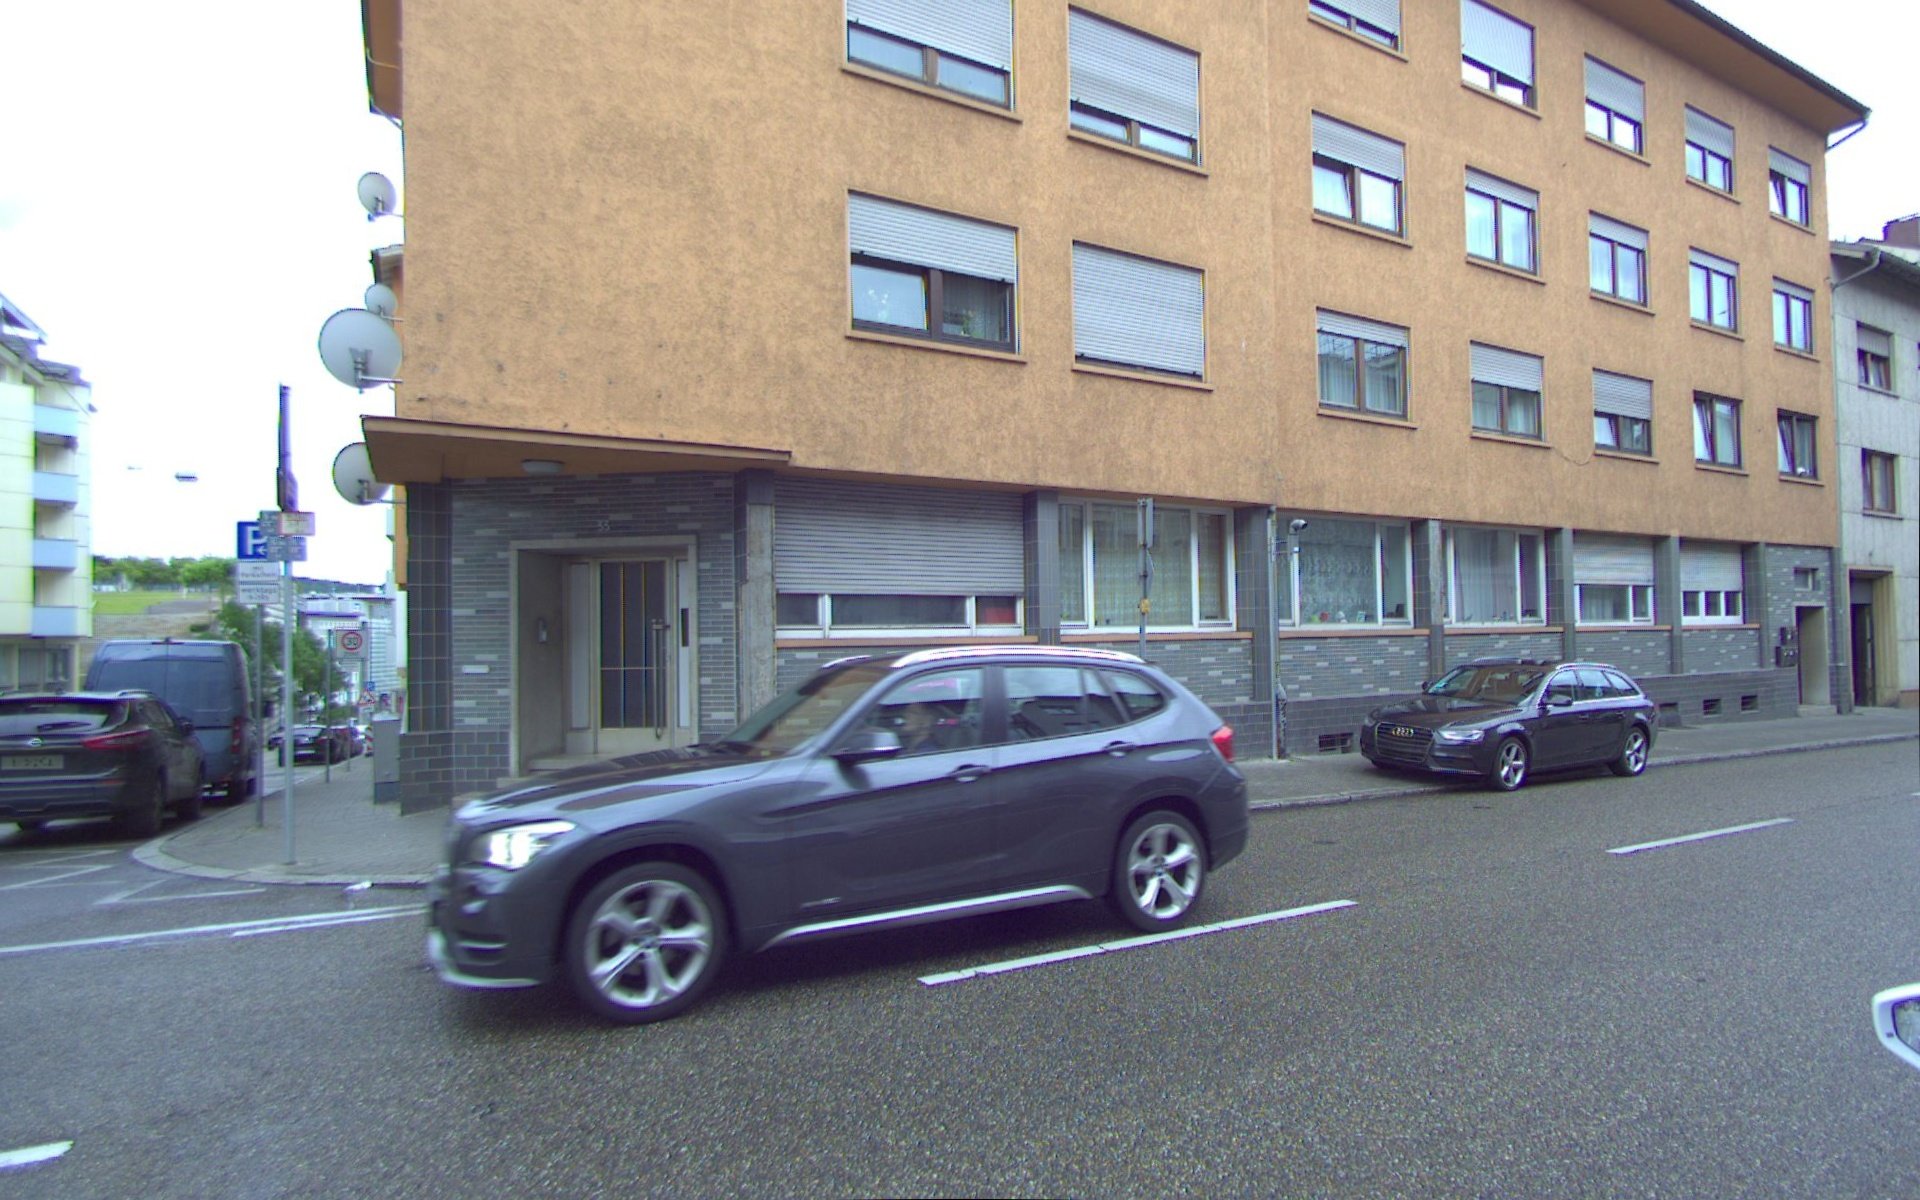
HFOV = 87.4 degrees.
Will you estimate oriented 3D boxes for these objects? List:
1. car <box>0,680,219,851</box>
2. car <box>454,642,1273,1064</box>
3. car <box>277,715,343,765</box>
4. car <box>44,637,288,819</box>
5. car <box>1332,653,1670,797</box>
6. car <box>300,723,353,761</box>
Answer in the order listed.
[{"bbox_3d":[-9.978,1.849,11.515,1.820,1.596,4.127,1,-8,-29],"label":"car"},{"bbox_3d":[-0.401,1.025,5.475,4.111,1.526,1.695,1,-5,-31],"label":"car"},{"bbox_3d":[-24.249,5.237,37.590,1.796,1.696,4.026,1,-7,-29],"label":"car"},{"bbox_3d":[-13.042,2.117,17.012,2.223,2.492,6.017,1,-7,-29],"label":"car"},{"bbox_3d":[7.031,1.472,12.937,4.475,1.457,1.786,1,0,-31],"label":"car"},{"bbox_3d":[-27.966,6.281,44.424,1.702,1.513,4.026,1,-7,-29],"label":"car"}]
